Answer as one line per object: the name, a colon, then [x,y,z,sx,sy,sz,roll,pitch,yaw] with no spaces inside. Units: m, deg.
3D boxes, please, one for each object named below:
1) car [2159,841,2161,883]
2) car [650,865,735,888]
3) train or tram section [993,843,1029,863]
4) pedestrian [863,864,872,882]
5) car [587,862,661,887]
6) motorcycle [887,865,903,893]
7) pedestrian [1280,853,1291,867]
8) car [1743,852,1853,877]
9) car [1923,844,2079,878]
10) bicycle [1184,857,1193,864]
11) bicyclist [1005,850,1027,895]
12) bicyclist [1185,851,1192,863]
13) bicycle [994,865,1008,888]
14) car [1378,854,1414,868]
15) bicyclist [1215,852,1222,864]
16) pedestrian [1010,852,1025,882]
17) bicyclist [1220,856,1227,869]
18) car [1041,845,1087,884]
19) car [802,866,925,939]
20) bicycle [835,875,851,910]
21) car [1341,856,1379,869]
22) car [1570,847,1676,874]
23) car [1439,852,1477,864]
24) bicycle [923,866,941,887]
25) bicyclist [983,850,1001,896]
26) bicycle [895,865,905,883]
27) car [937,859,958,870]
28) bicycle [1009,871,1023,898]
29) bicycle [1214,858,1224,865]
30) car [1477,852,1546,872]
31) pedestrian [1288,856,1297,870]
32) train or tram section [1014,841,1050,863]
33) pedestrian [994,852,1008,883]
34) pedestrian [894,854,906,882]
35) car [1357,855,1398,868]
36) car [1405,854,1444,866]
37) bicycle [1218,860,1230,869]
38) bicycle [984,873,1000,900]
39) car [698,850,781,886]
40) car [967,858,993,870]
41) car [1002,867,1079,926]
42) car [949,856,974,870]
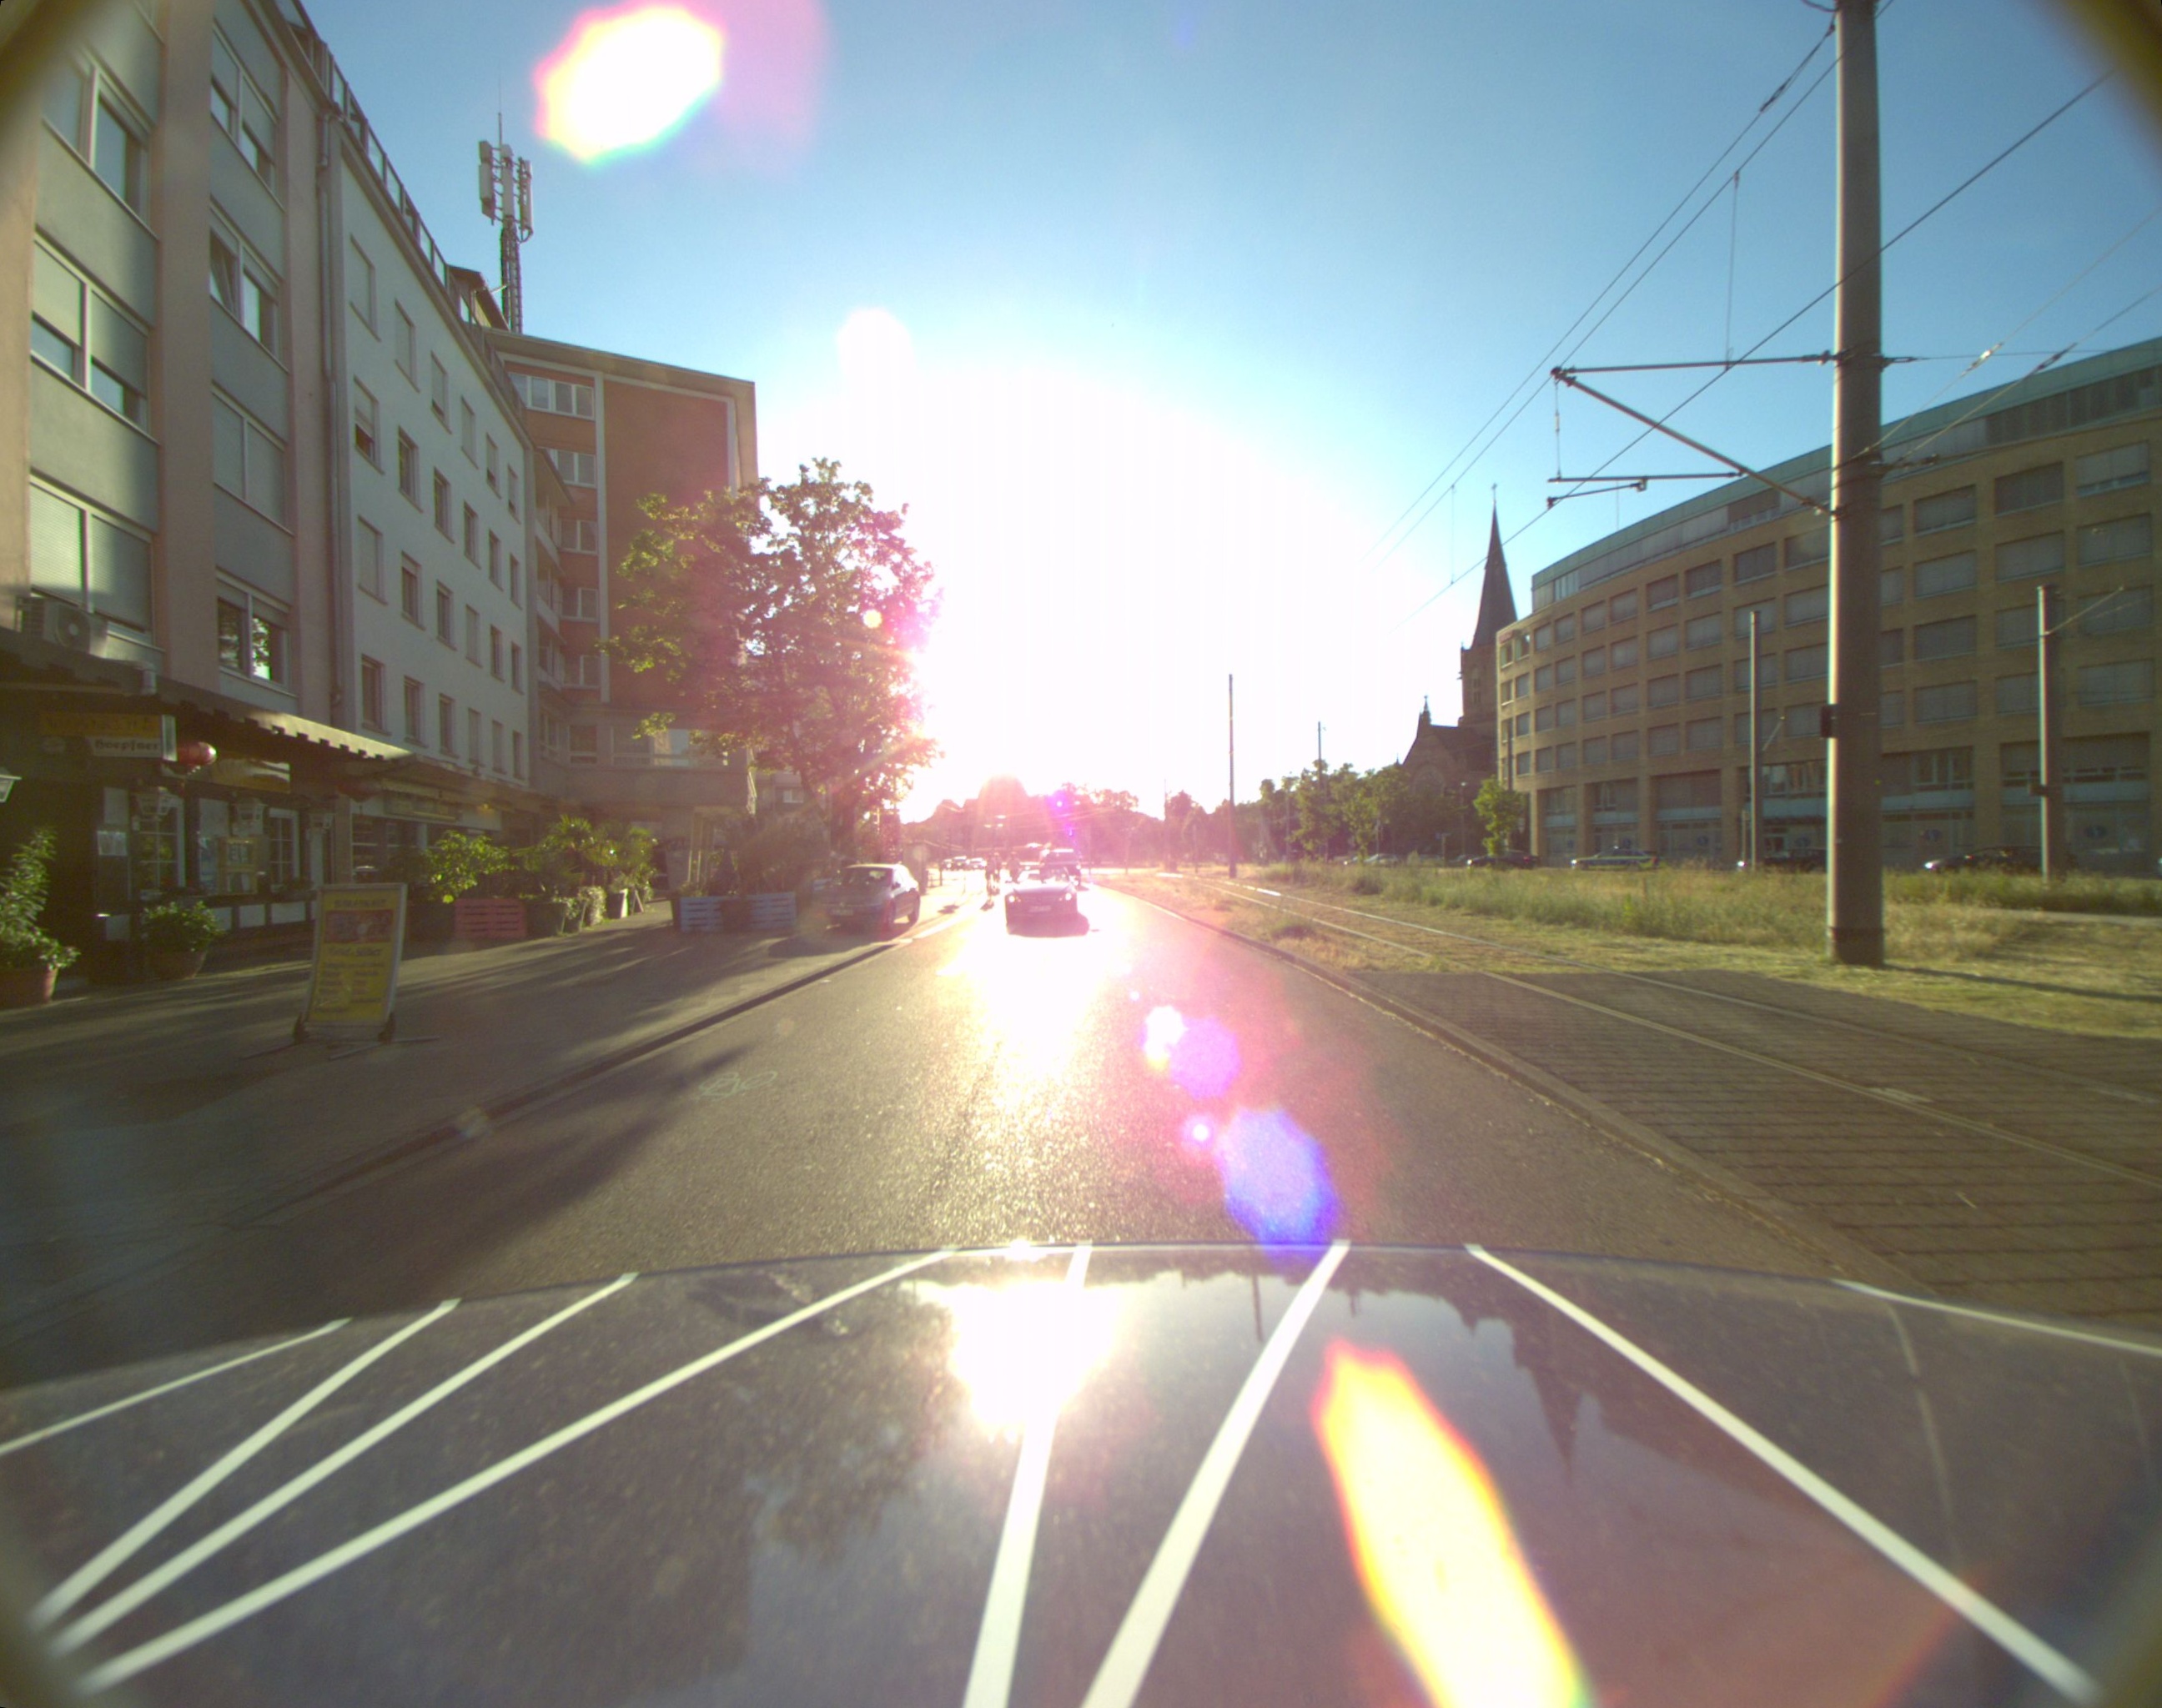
car: [39.973,0.244,25.440,1.779,1.473,4.299,-1,0,-30]
car: [-24.868,1.425,48.813,4.681,1.333,1.837,-1,0,-20]
train or tram section: [-12.871,-0.150,138.440,2.785,3.515,13.227,-1,0,-22]
pedestrian: [-19.954,1.776,71.018,0.684,1.580,0.745,-1,0,-17]
car: [-30.914,1.358,51.487,4.090,1.561,1.594,-1,0,-23]
motorcycle: [-8.849,1.171,36.061,0.668,1.235,2.198,-1,0,-15]
pedestrian: [24.458,0.742,90.749,0.739,1.663,1.103,-1,0,-19]
car: [34.695,0.505,36.871,1.527,1.147,3.592,-1,0,-23]
car: [37.375,0.302,30.974,1.653,1.274,3.732,-1,0,-25]
bicycle: [16.269,0.942,114.980,0.526,1.020,1.927,-4,1,-22]
bicyclist: [-2.692,0.729,31.203,0.829,1.797,1.057,-1,0,-7]
bicyclist: [16.229,0.412,114.992,0.575,1.816,0.893,-2,1,-22]
bicycle: [-4.268,1.167,40.486,0.530,1.152,1.847,-2,1,-10]
car: [38.755,0.873,93.446,4.004,1.575,1.822,-1,0,-22]
bicyclist: [19.224,0.602,106.352,0.575,1.671,0.893,-2,1,-22]
pedestrian: [-3.557,0.701,42.467,0.679,1.639,0.901,-2,1,-10]
bicyclist: [18.444,1.077,98.172,0.522,1.574,0.819,-2,1,-22]
car: [-1.003,0.538,41.441,1.921,1.978,4.943,-1,0,-8]
car: [-4.989,1.054,17.975,1.732,1.463,3.899,1,0,0]
bicycle: [-8.286,1.328,26.464,0.422,1.151,1.753,-1,-1,-20]
car: [33.698,1.017,91.717,4.004,1.412,1.899,-1,0,-22]
car: [31.576,0.385,44.438,1.897,1.471,4.772,-1,0,-25]
car: [46.115,0.527,92.928,4.004,1.412,1.899,-1,0,-22]
bicycle: [-8.178,1.243,41.680,0.647,1.120,1.871,-1,-1,-20]
bicyclist: [-3.606,0.765,30.682,0.676,1.797,0.993,-1,0,-7]
bicycle: [-10.600,1.162,44.437,0.522,0.975,1.847,-1,1,-15]
car: [-18.496,1.517,105.448,1.818,1.393,3.911,-4,1,-25]
bicycle: [-2.682,1.246,31.218,0.480,1.022,1.980,-1,0,-7]
bicycle: [19.270,1.024,106.329,0.460,1.020,1.927,-2,0,-22]
car: [29.000,0.546,51.297,1.732,1.275,3.782,-1,0,-22]
pedestrian: [25.257,1.121,90.887,0.739,1.663,0.716,-1,0,-19]
train or tram section: [-8.315,-0.230,127.401,2.785,3.515,10.551,-1,0,-22]
pedestrian: [-4.248,0.715,40.400,0.640,1.639,0.842,-2,1,-10]
pedestrian: [-10.597,0.793,44.477,0.678,1.581,0.760,-1,2,-15]
car: [33.191,0.819,85.010,4.003,1.412,1.899,-1,0,-18]
car: [40.987,0.728,90.666,4.004,1.412,1.899,-1,0,-22]
bicycle: [18.446,1.342,98.187,0.460,1.139,1.916,-2,0,-23]
bicycle: [-3.590,1.281,30.624,0.577,1.022,1.855,-1,0,-7]
car: [-24.327,0.973,54.315,5.272,2.468,1.922,-1,0,-22]
car: [-12.400,1.198,92.933,1.846,1.393,4.575,-4,1,-25]
car: [-0.956,1.036,19.989,1.776,1.300,4.240,-1,0,0]
car: [-15.767,1.206,99.883,1.959,1.702,4.841,-4,1,-25]
